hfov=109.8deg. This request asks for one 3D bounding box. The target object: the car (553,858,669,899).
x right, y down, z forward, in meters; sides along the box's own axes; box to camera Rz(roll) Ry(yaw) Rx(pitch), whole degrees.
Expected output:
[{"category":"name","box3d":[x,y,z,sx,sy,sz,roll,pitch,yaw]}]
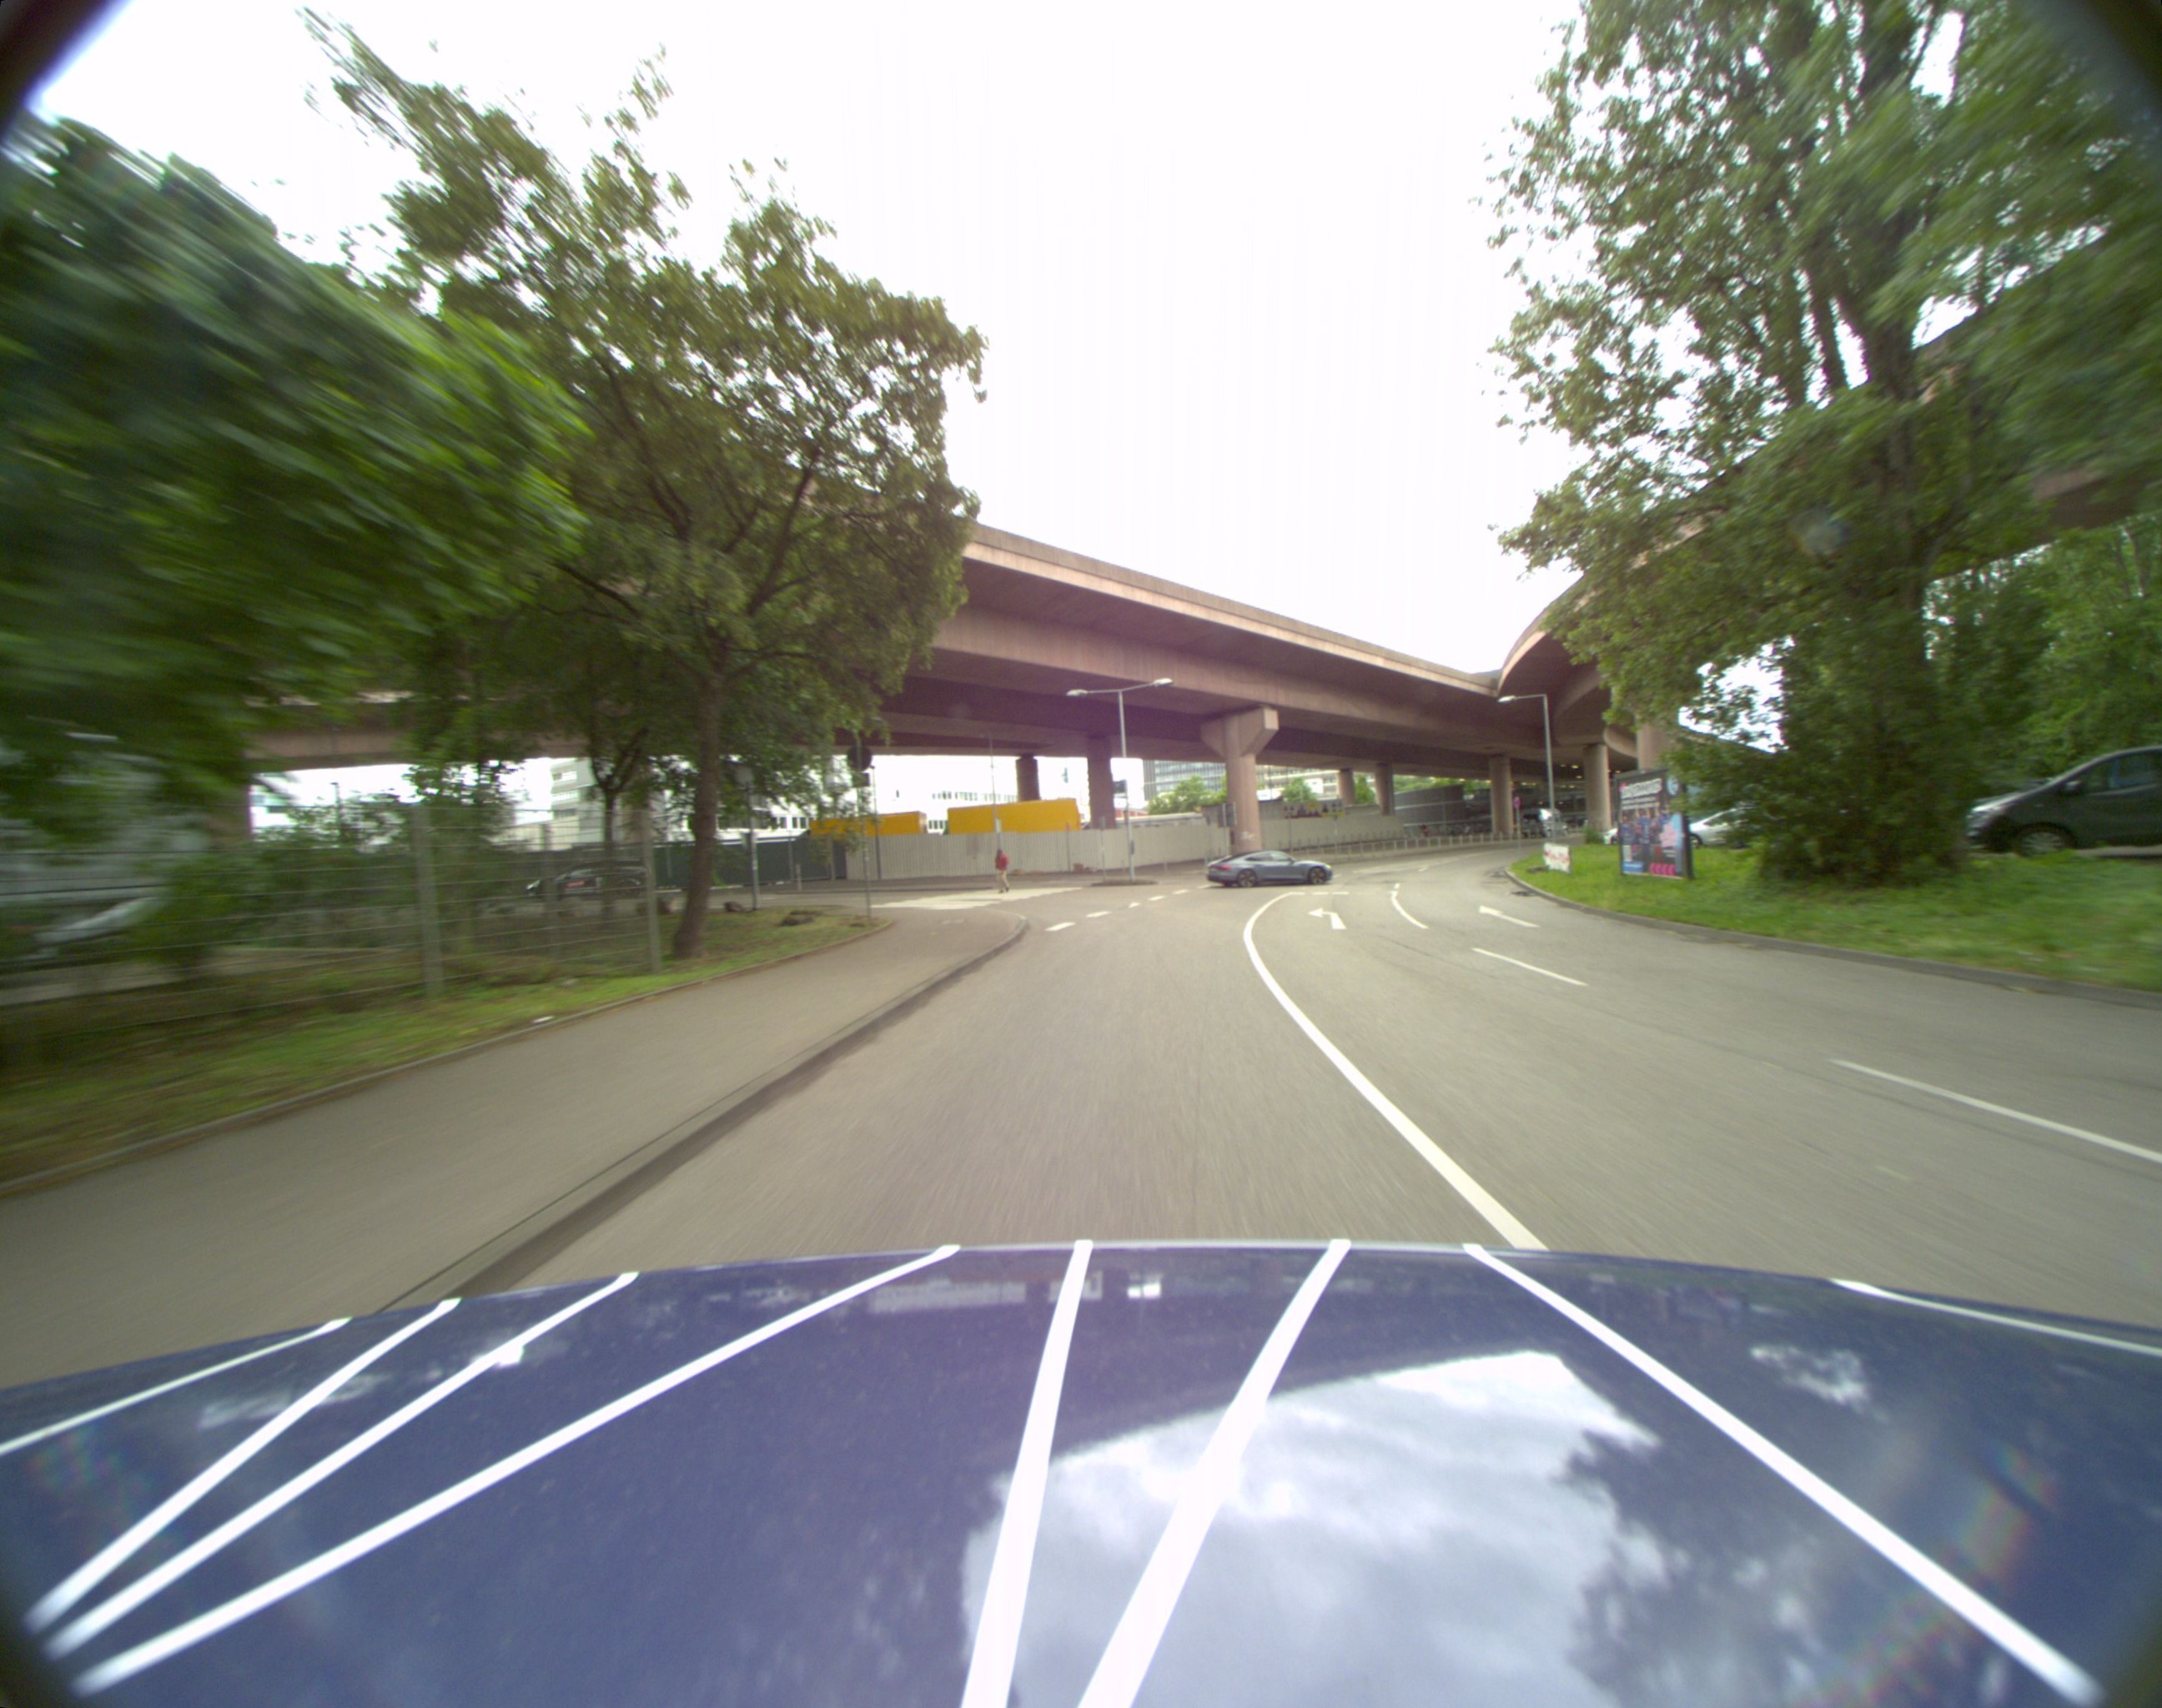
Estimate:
[{"category":"car","box3d":[-20.387,1.031,33.162,4.004,1.625,1.796,-1,1,-21]}]

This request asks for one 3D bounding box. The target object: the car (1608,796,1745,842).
[{"category":"car","box3d":[26.259,-1.483,33.688,1.638,1.846,4.480,-1,1,-34]}]

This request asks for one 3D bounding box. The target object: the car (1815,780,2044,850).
[{"category":"car","box3d":[20.473,-0.878,18.548,1.359,1.556,3.617,-2,2,-45]}]

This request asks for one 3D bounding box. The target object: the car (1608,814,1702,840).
[{"category":"car","box3d":[29.262,-1.365,38.822,1.359,1.227,3.618,-1,1,-36]}]

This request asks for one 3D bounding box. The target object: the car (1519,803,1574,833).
[{"category":"car","box3d":[42.149,-3.195,68.723,5.698,2.571,2.296,-1,1,-37]}]

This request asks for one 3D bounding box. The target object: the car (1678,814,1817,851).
[{"category":"car","box3d":[23.986,-0.751,27.448,1.359,1.227,3.617,-1,1,-41]}]

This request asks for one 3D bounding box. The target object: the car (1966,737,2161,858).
[{"category":"car","box3d":[18.822,-0.943,12.951,1.859,2.002,4.709,-1,1,-36]}]

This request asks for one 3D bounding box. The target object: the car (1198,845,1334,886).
[{"category":"car","box3d":[7.184,0.428,29.644,4.756,1.351,1.931,-2,1,-12]}]

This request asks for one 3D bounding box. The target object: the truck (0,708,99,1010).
[{"category":"truck","box3d":[-14.429,0.160,6.872,2.265,3.389,6.423,-2,1,31]}]

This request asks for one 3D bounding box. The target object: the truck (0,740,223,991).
[{"category":"truck","box3d":[-17.428,0.280,8.328,2.265,3.478,10.233,-2,1,28]}]

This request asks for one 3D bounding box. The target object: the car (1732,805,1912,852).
[{"category":"car","box3d":[21.142,-0.687,21.818,1.359,1.227,3.617,-2,1,-45]}]

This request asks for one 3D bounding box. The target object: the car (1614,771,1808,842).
[{"category":"car","box3d":[25.050,-1.781,30.498,1.832,2.566,5.672,-1,1,-34]}]

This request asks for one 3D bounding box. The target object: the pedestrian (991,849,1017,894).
[{"category":"pedestrian","box3d":[-2.959,0.663,29.259,0.753,1.671,0.855,-2,1,5]}]

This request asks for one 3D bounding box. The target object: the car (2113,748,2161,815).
[{"category":"car","box3d":[31.149,-2.100,21.127,3.544,1.789,1.640,-3,1,-13]}]
